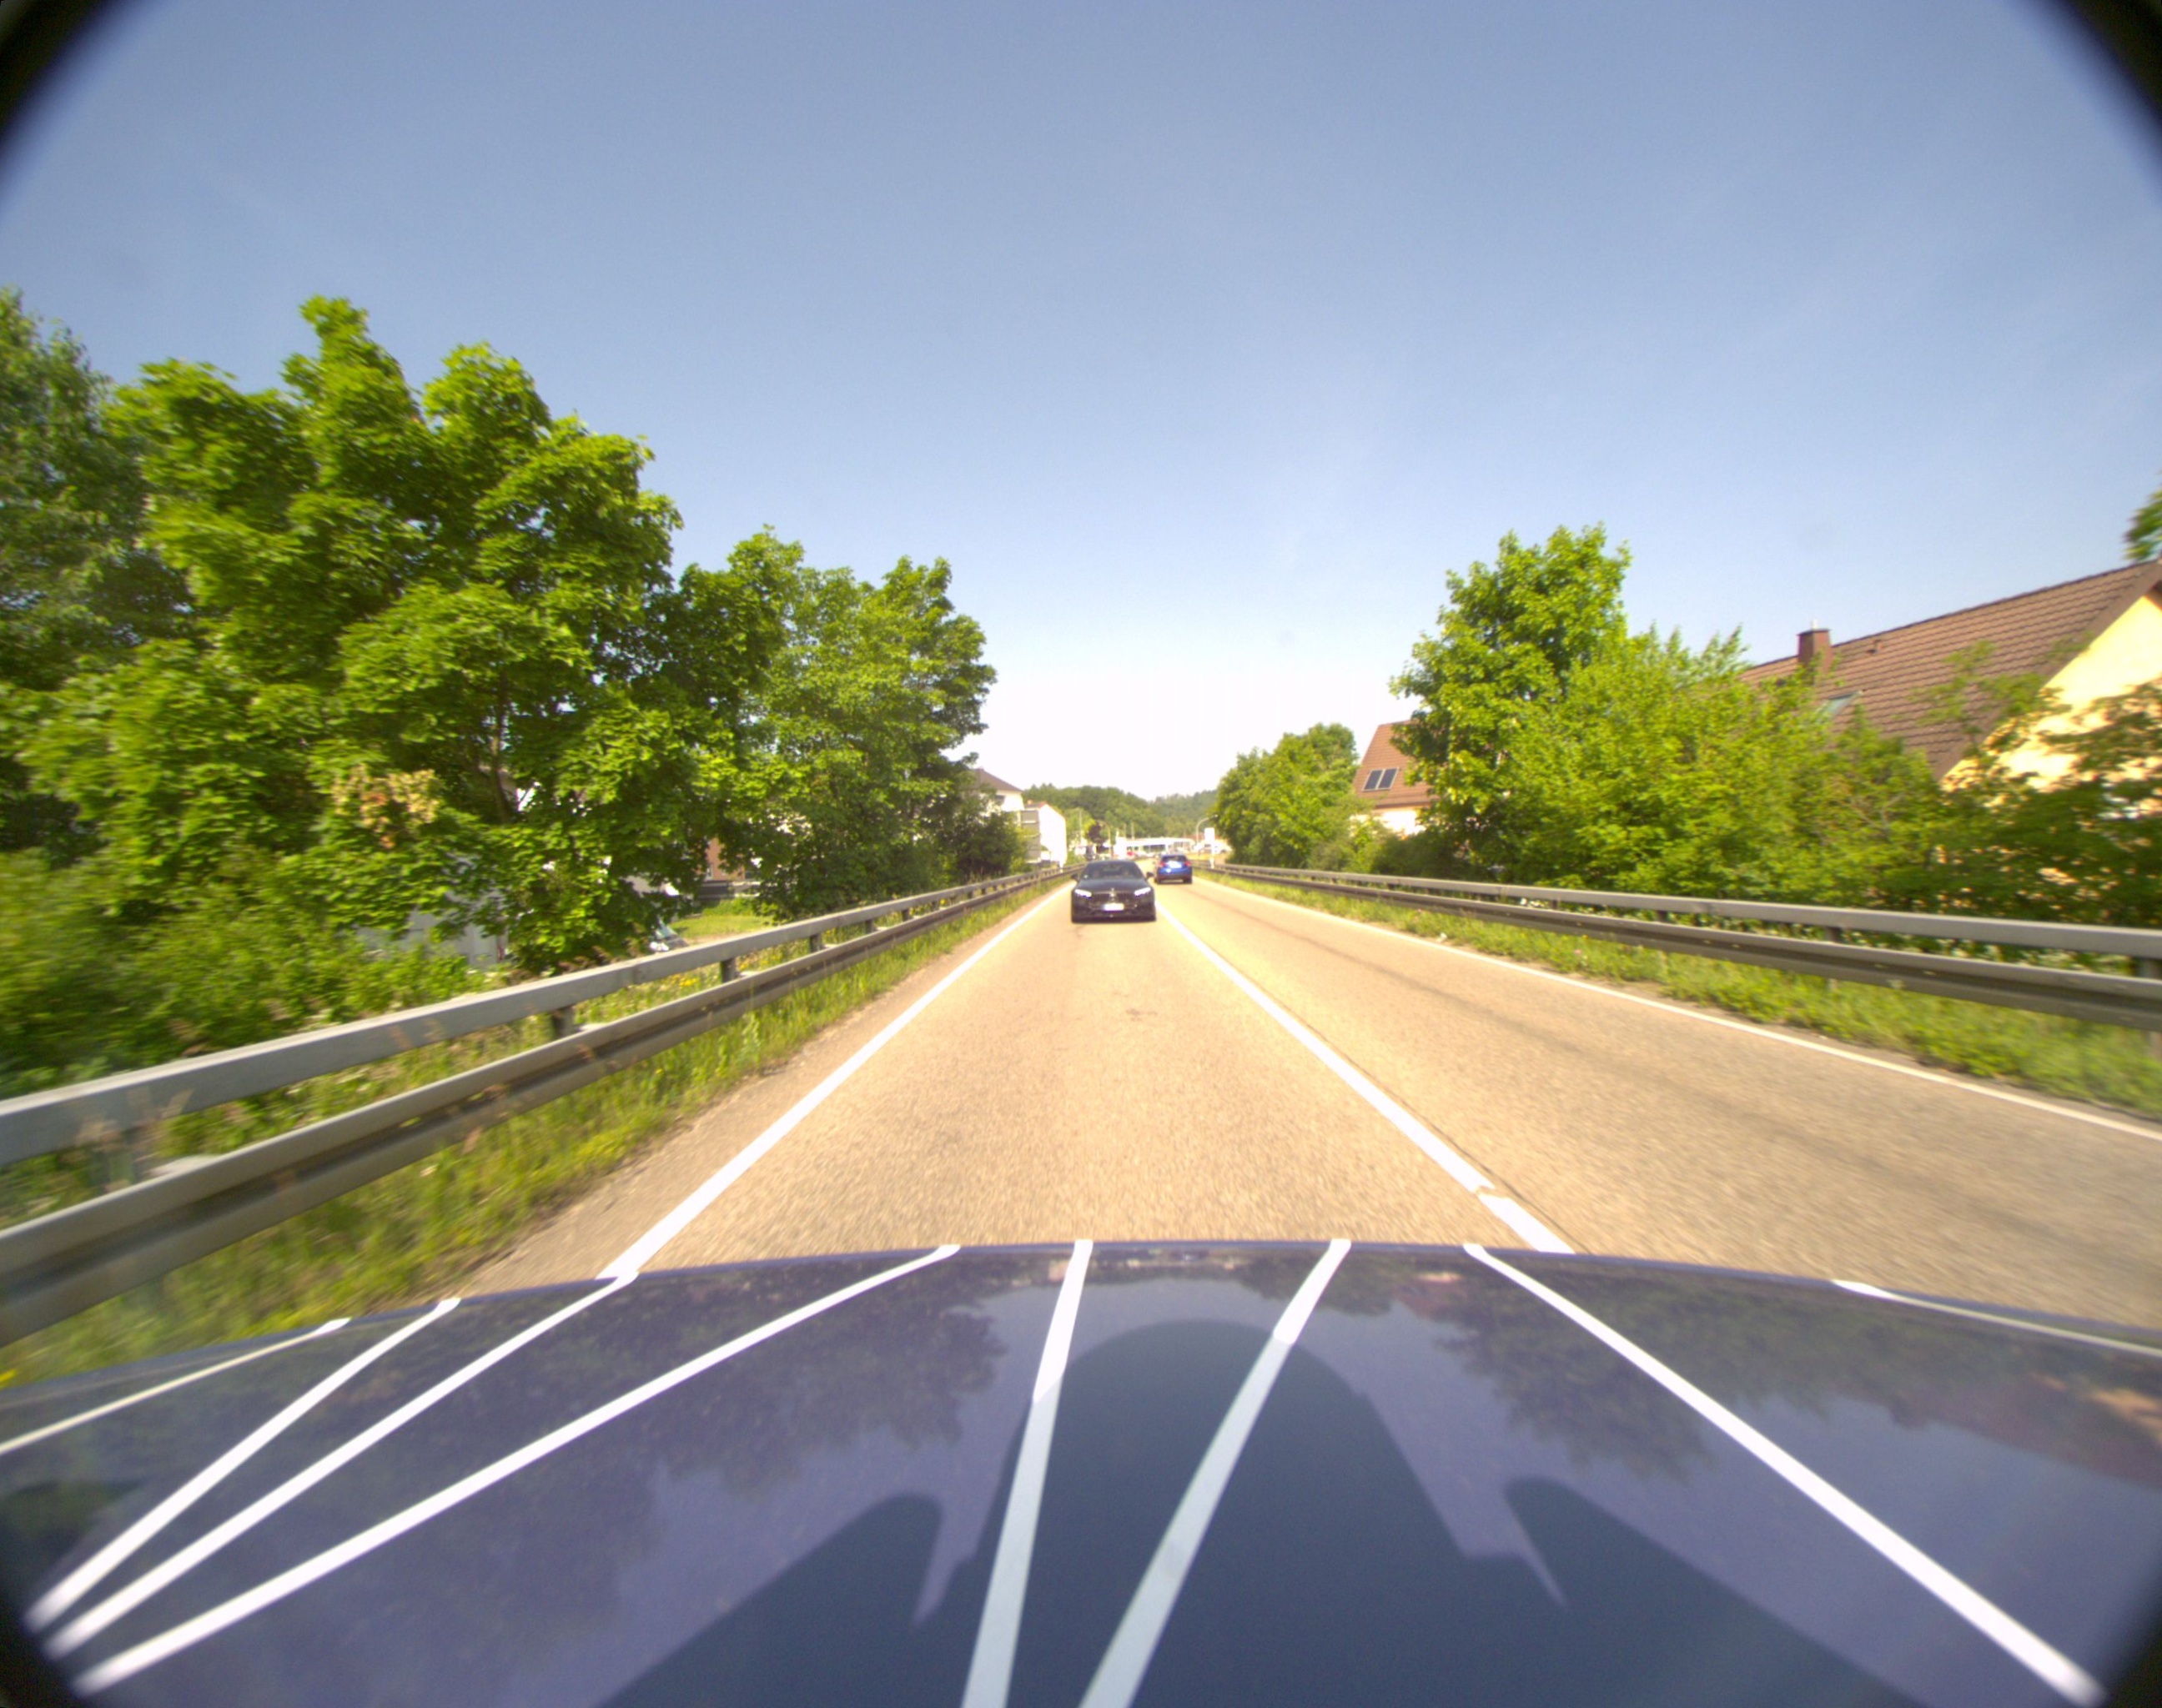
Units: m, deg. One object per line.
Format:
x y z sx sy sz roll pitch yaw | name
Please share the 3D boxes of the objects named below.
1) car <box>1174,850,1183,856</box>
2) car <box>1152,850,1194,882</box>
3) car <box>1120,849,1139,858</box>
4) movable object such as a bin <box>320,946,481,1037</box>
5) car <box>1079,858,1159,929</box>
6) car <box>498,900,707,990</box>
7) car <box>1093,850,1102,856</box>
21.136 -0.213 165.026 1.762 1.402 3.990 0 1 6 | car
4.725 0.580 39.510 1.812 1.552 3.992 0 1 1 | car
10.233 -0.124 161.094 3.996 1.441 1.765 -5 1 3 | car
-18.100 3.622 20.283 2.790 2.002 1.588 -3 1 3 | movable object such as a bin
0.816 0.876 18.626 1.716 1.382 4.146 -1 1 0 | car
-17.447 3.292 27.954 6.086 2.673 2.312 -3 4 3 | car
4.087 -0.159 189.057 1.656 1.359 3.659 -2 1 -7 | car
